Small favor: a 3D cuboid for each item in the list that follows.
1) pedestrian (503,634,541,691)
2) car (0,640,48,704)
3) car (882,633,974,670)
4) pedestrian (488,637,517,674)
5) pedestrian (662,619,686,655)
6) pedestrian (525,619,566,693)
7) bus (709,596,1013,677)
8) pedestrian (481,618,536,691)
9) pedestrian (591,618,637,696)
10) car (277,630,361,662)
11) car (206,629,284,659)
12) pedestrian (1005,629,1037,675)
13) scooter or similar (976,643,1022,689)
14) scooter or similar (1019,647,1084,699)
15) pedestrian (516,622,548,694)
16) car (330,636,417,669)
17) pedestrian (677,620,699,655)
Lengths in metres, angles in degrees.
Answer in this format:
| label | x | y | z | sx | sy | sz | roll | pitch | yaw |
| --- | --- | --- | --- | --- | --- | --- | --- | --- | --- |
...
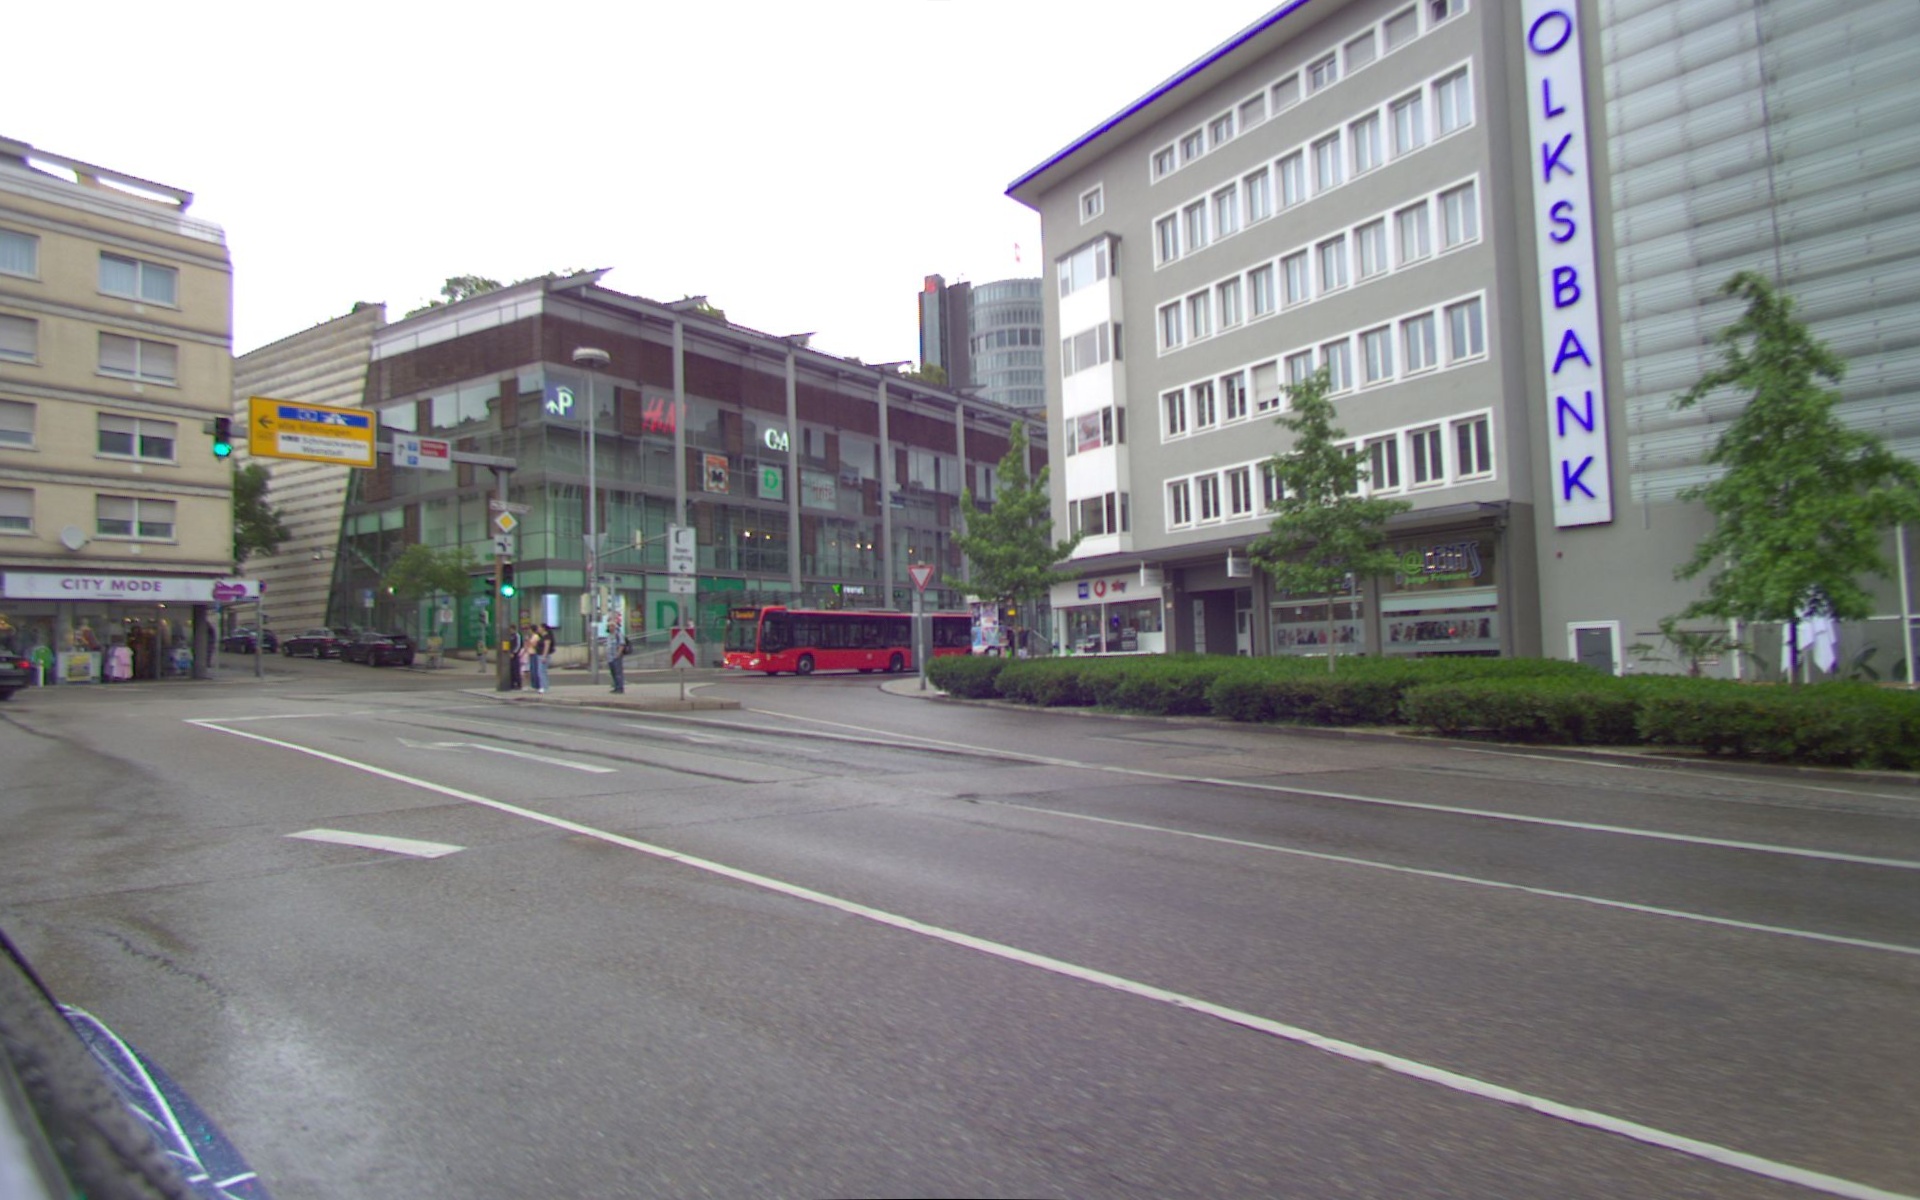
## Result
| label | x | y | z | sx | sy | sz | roll | pitch | yaw |
| --- | --- | --- | --- | --- | --- | --- | --- | --- | --- |
| pedestrian | -10.674 | 1.515 | 24.651 | 0.630 | 1.350 | 0.581 | -1 | -3 | 32 |
| car | -23.819 | 1.658 | 23.053 | 4.578 | 1.436 | 1.995 | -1 | -5 | 7 |
| car | -1.841 | 3.074 | 60.396 | 2.448 | 2.091 | 5.835 | -2 | -3 | 36 |
| pedestrian | -22.448 | 2.723 | 49.675 | 1.036 | 1.775 | 0.694 | -1 | -4 | 6 |
| pedestrian | -16.096 | 2.114 | 56.964 | 0.882 | 1.996 | 0.962 | -3 | -4 | 37 |
| pedestrian | -9.759 | 1.318 | 23.831 | 0.629 | 1.702 | 0.784 | 3 | -4 | -43 |
| bus | -3.956 | 1.957 | 49.880 | 2.927 | 3.346 | 18.233 | -3 | -4 | 39 |
| pedestrian | -11.514 | 1.379 | 25.819 | 1.010 | 1.801 | 0.844 | -1 | -3 | 32 |
| pedestrian | -8.212 | 1.345 | 24.036 | 0.829 | 1.792 | 0.611 | -1 | -3 | 32 |
| car | -34.058 | 2.424 | 53.749 | 4.361 | 1.558 | 1.881 | -1 | 0 | 28 |
| car | -40.412 | 2.444 | 57.181 | 4.361 | 1.558 | 1.881 | -1 | 0 | 28 |
| pedestrian | 2.424 | 2.068 | 40.350 | 1.022 | 1.789 | 0.791 | -1 | -3 | 32 |
| scooter or similar | 1.033 | 1.780 | 27.156 | 0.535 | 1.196 | 1.388 | 2 | -5 | -32 |
| scooter or similar | 2.506 | 1.981 | 27.784 | 0.915 | 1.265 | 1.506 | -8 | 2 | -32 |
| pedestrian | -10.267 | 1.384 | 24.262 | 0.571 | 1.681 | 0.494 | -4 | -5 | 45 |
| car | -29.408 | 2.603 | 50.694 | 4.277 | 1.558 | 1.788 | -1 | -2 | 28 |
| pedestrian | -15.500 | 2.156 | 57.703 | 0.876 | 1.996 | 0.839 | -3 | -4 | 37 |
